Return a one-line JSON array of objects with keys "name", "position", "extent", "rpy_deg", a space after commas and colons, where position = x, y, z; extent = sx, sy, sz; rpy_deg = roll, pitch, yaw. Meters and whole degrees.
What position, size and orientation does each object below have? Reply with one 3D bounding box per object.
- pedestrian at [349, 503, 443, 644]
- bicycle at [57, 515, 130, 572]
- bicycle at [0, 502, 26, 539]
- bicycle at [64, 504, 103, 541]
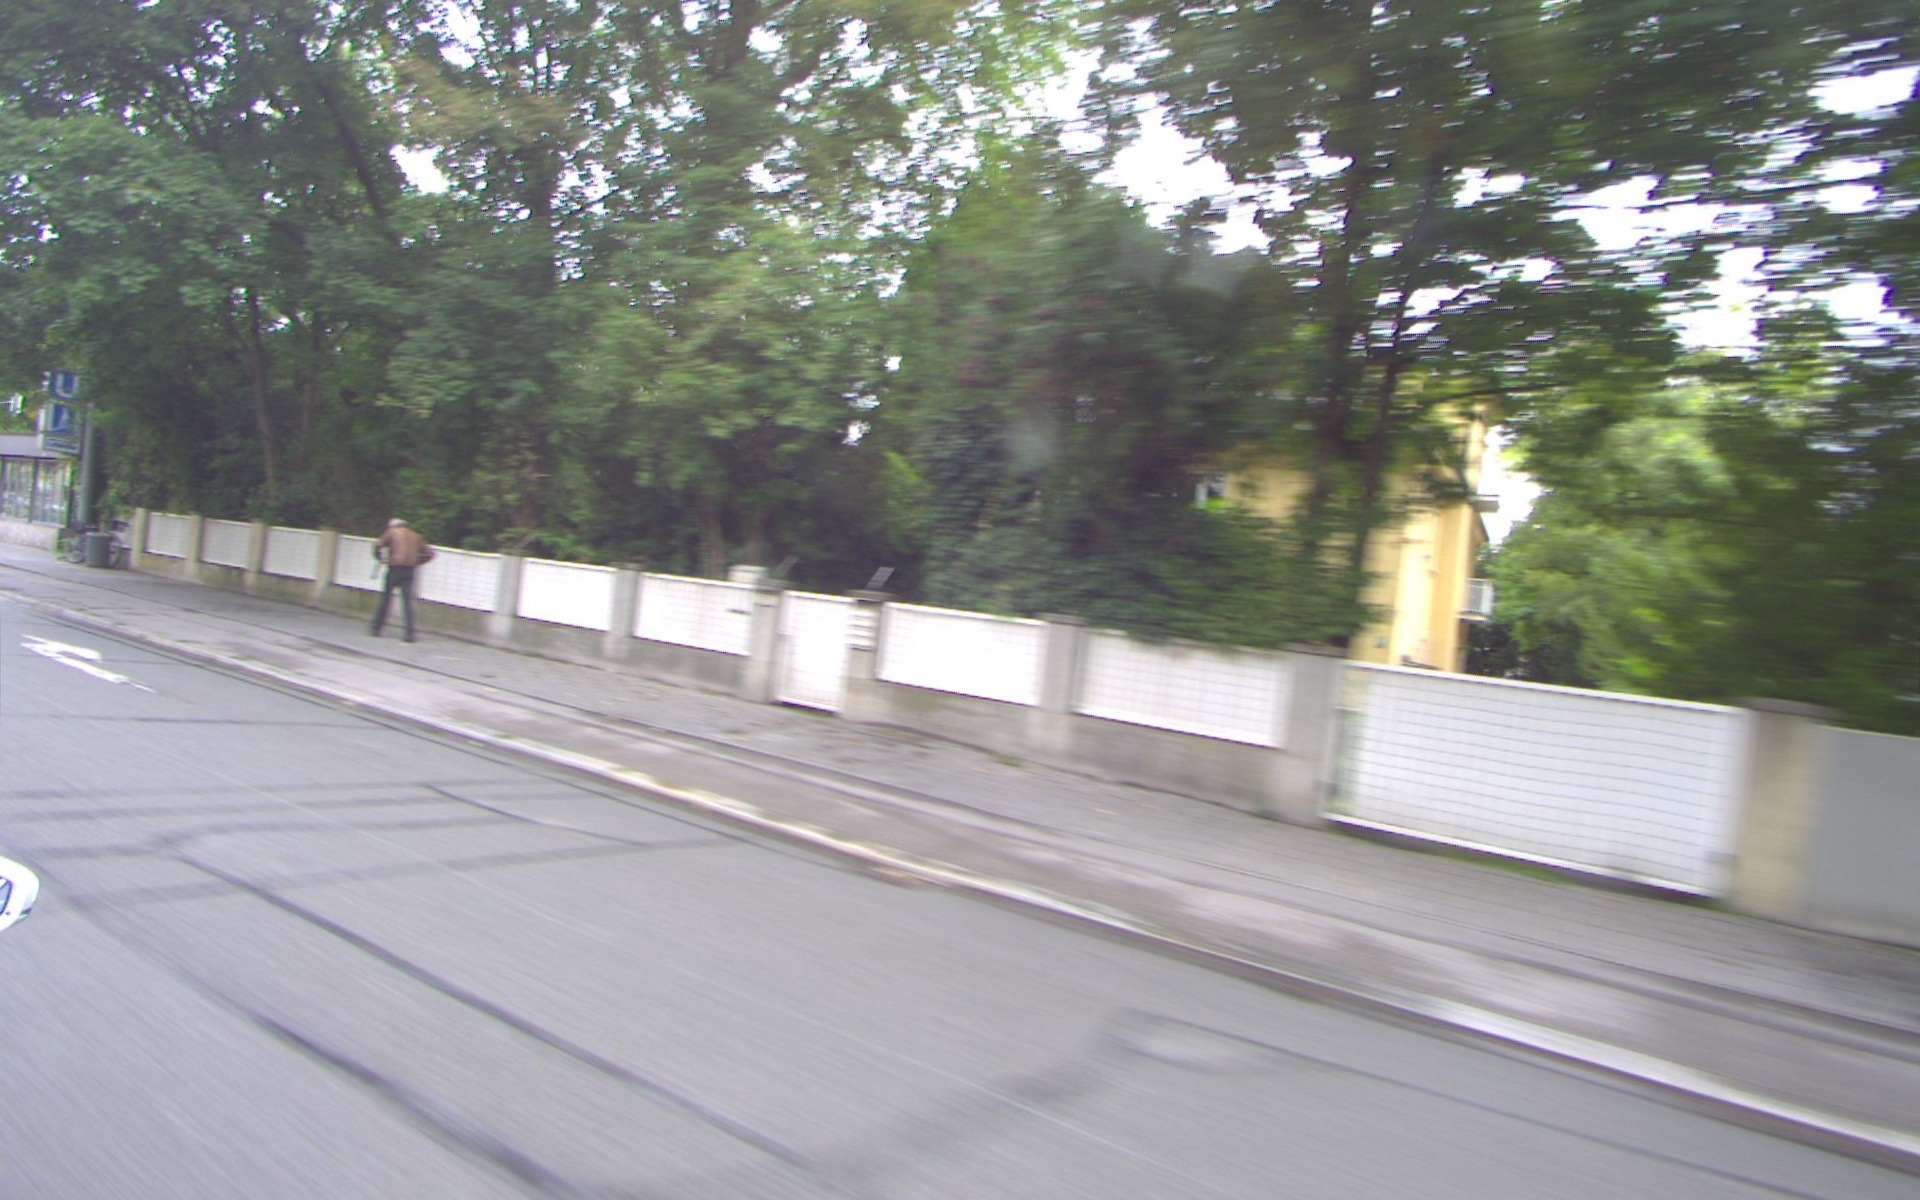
[{"name": "pedestrian", "position": [-8.367, -0.388, 14.930], "extent": [0.789, 1.967, 0.778], "rpy_deg": [7, 1, 32]}, {"name": "bicycle", "position": [-19.974, -1.315, 23.167], "extent": [1.992, 1.104, 0.623], "rpy_deg": [7, 0, 32]}, {"name": "bicycle", "position": [-31.344, -2.628, 33.030], "extent": [1.707, 1.134, 0.470], "rpy_deg": [6, 0, 32]}, {"name": "bicycle", "position": [-30.271, -2.672, 34.736], "extent": [1.707, 1.134, 0.470], "rpy_deg": [6, 0, 32]}]
